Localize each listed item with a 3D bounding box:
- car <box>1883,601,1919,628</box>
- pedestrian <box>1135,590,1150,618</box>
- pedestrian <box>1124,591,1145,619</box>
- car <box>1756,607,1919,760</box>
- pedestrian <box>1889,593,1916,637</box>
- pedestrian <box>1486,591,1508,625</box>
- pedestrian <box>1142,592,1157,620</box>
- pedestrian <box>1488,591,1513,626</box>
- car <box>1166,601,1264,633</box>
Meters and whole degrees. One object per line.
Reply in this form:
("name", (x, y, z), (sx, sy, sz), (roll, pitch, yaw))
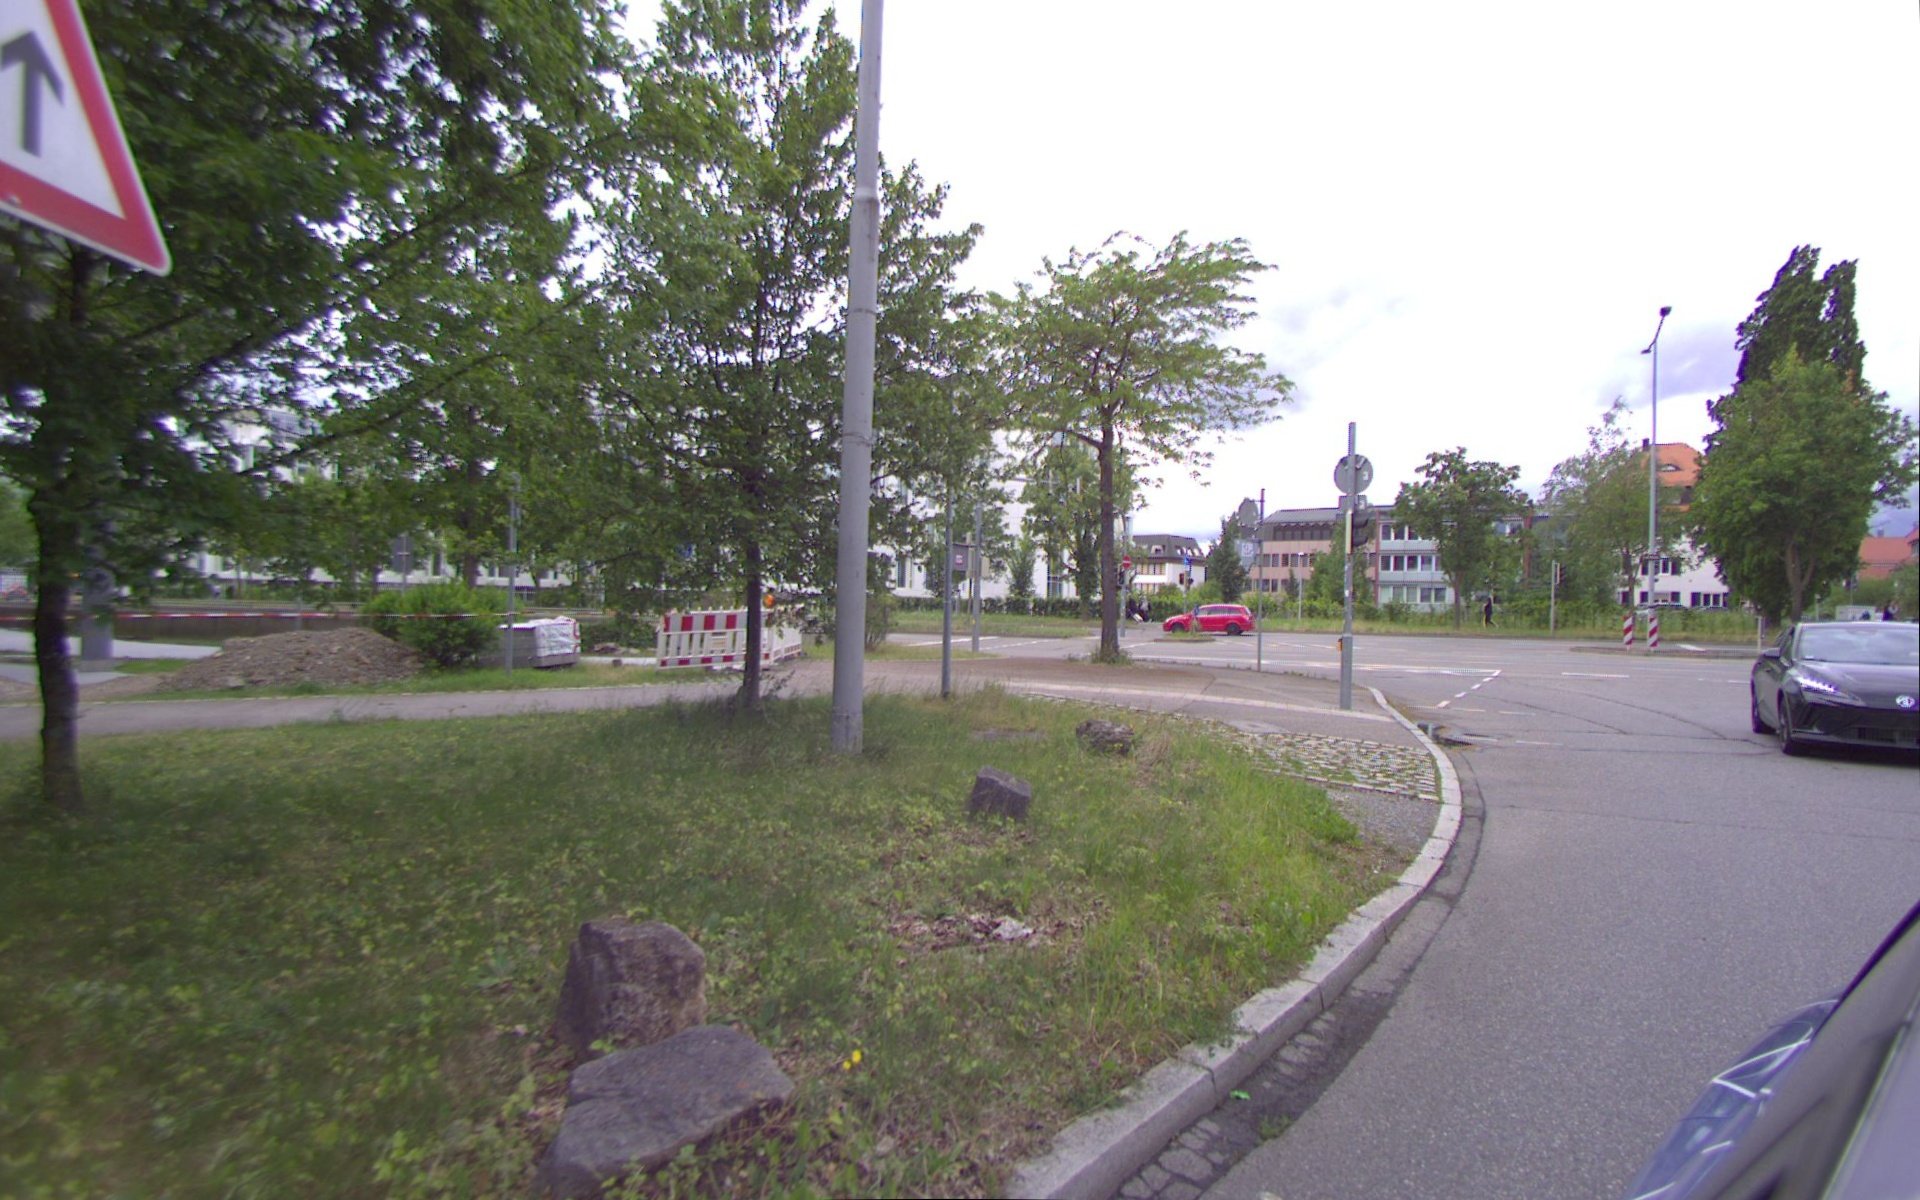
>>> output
("car", (62.997, 0.984, 67.158), (1.863, 1.661, 3.783), (-1, -3, 32))
("pedestrian", (10.862, 0.227, 60.240), (0.555, 1.647, 0.708), (2, -3, -33))
("pedestrian", (10.303, 0.318, 59.784), (0.720, 1.647, 1.034), (2, -3, -36))
("car", (10.571, 0.873, 11.712), (1.789, 1.502, 3.970), (0, -1, 33))
("pedestrian", (39.805, 0.631, 42.748), (0.746, 1.821, 0.662), (-2, -3, 38))
("pedestrian", (27.278, 0.419, 51.414), (0.821, 1.718, 0.613), (-1, -3, 17))
("pedestrian", (11.390, 0.378, 60.860), (0.674, 1.647, 0.662), (1, -3, -8))
("pedestrian", (27.121, 0.439, 50.803), (0.989, 1.718, 0.604), (-1, -3, 17))
("car", (12.384, 0.794, 49.154), (4.311, 1.441, 1.982), (1, 0, 26))
